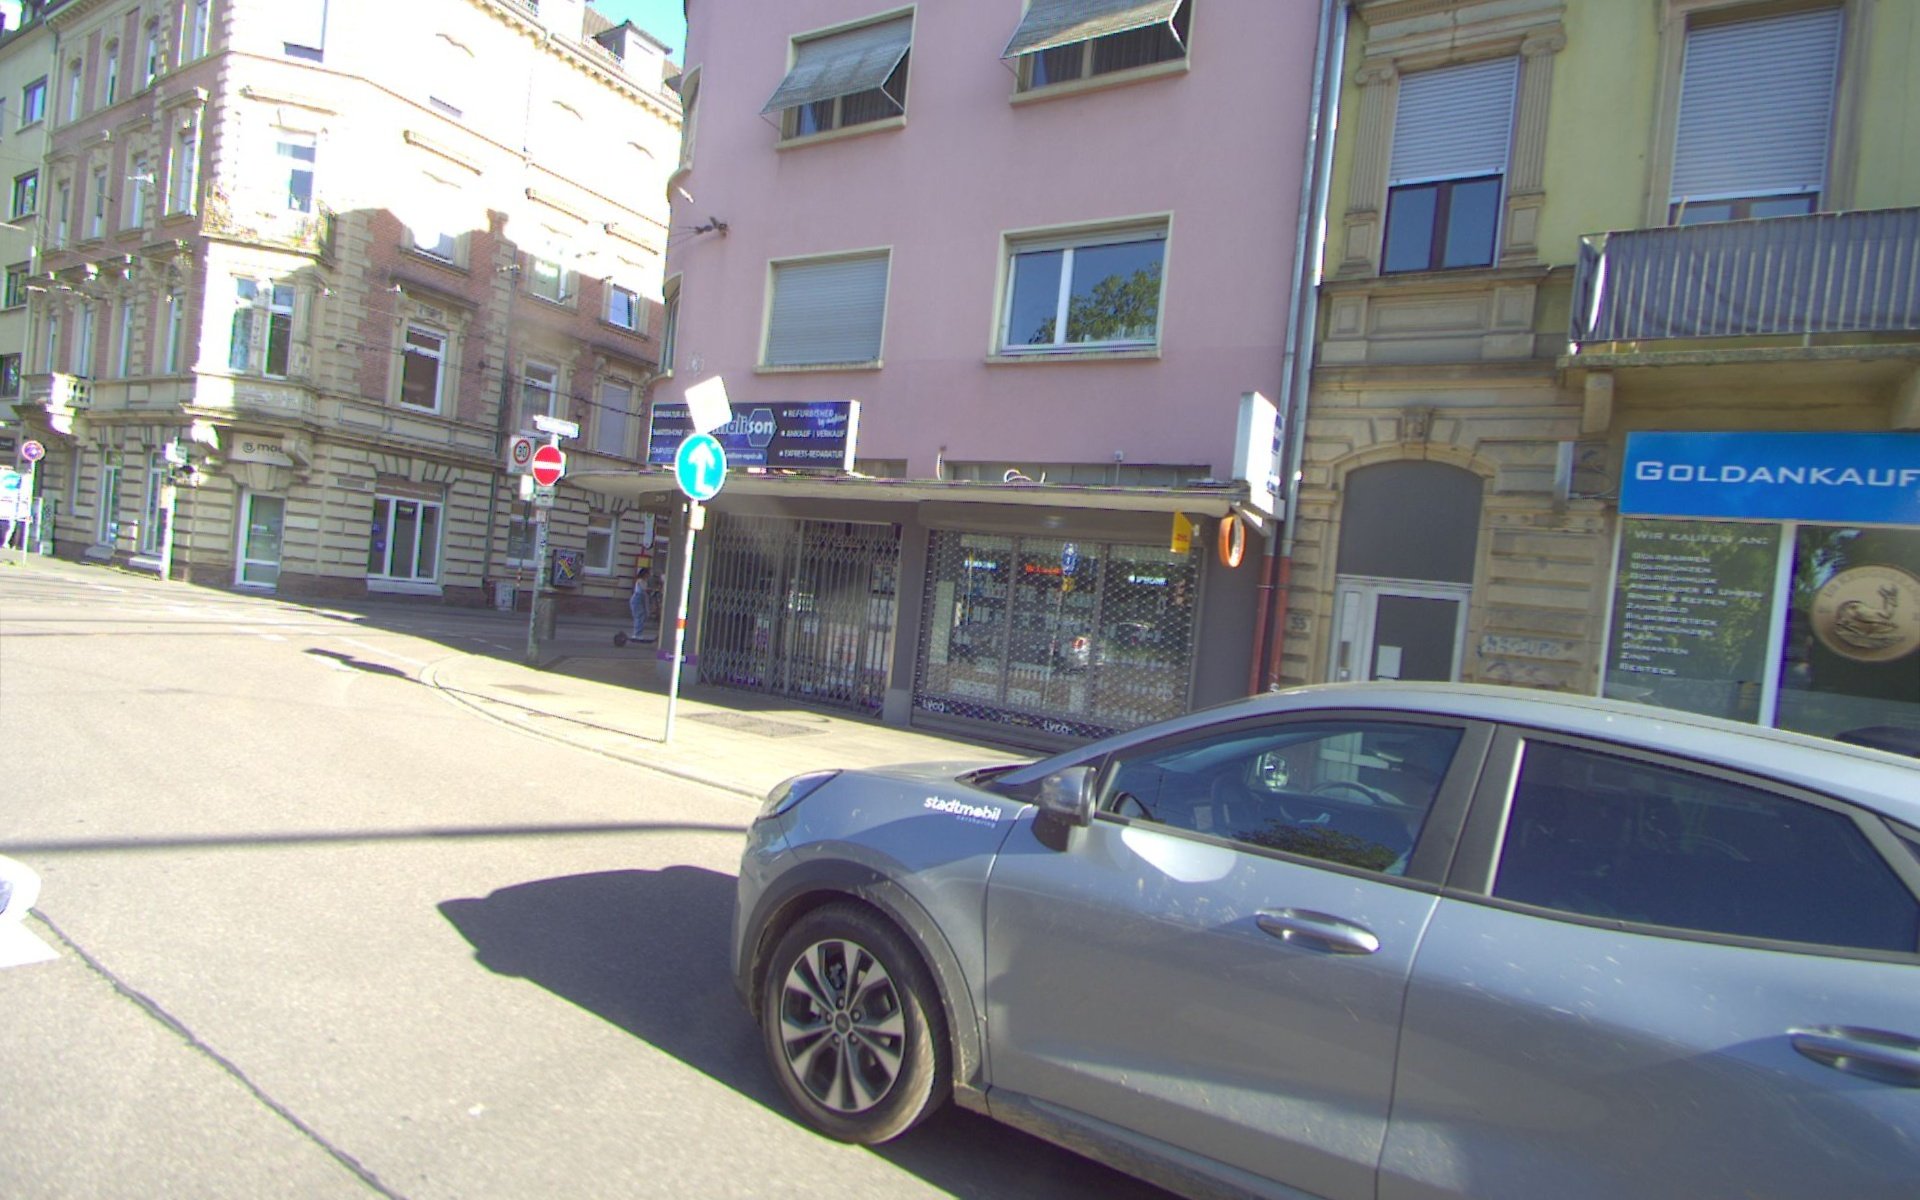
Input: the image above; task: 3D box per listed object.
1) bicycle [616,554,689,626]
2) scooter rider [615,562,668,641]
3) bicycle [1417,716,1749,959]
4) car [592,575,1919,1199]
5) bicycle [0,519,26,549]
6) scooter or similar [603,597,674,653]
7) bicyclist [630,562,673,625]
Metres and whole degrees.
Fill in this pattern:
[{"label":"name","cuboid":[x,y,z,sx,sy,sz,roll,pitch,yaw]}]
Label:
[{"label":"bicycle","cuboid":[-9.752,-0.292,31.992,0.596,2.038,2.182,7,0,33]},{"label":"scooter rider","cuboid":[-6.544,0.032,20.677,0.796,1.524,0.466,6,1,-2]},{"label":"bicycle","cuboid":[4.083,1.495,6.698,1.732,1.173,0.448,7,1,39]},{"label":"car","cuboid":[1.114,0.958,2.849,4.310,1.546,1.699,6,-1,33]},{"label":"bicycle","cuboid":[-28.682,-2.028,29.934,1.913,0.780,0.755,7,0,31]},{"label":"scooter or similar","cuboid":[-6.605,0.502,20.698,1.261,1.000,0.338,7,1,-6]},{"label":"bicyclist","cuboid":[-9.793,-0.203,31.934,0.737,1.852,0.856,7,0,33]}]
